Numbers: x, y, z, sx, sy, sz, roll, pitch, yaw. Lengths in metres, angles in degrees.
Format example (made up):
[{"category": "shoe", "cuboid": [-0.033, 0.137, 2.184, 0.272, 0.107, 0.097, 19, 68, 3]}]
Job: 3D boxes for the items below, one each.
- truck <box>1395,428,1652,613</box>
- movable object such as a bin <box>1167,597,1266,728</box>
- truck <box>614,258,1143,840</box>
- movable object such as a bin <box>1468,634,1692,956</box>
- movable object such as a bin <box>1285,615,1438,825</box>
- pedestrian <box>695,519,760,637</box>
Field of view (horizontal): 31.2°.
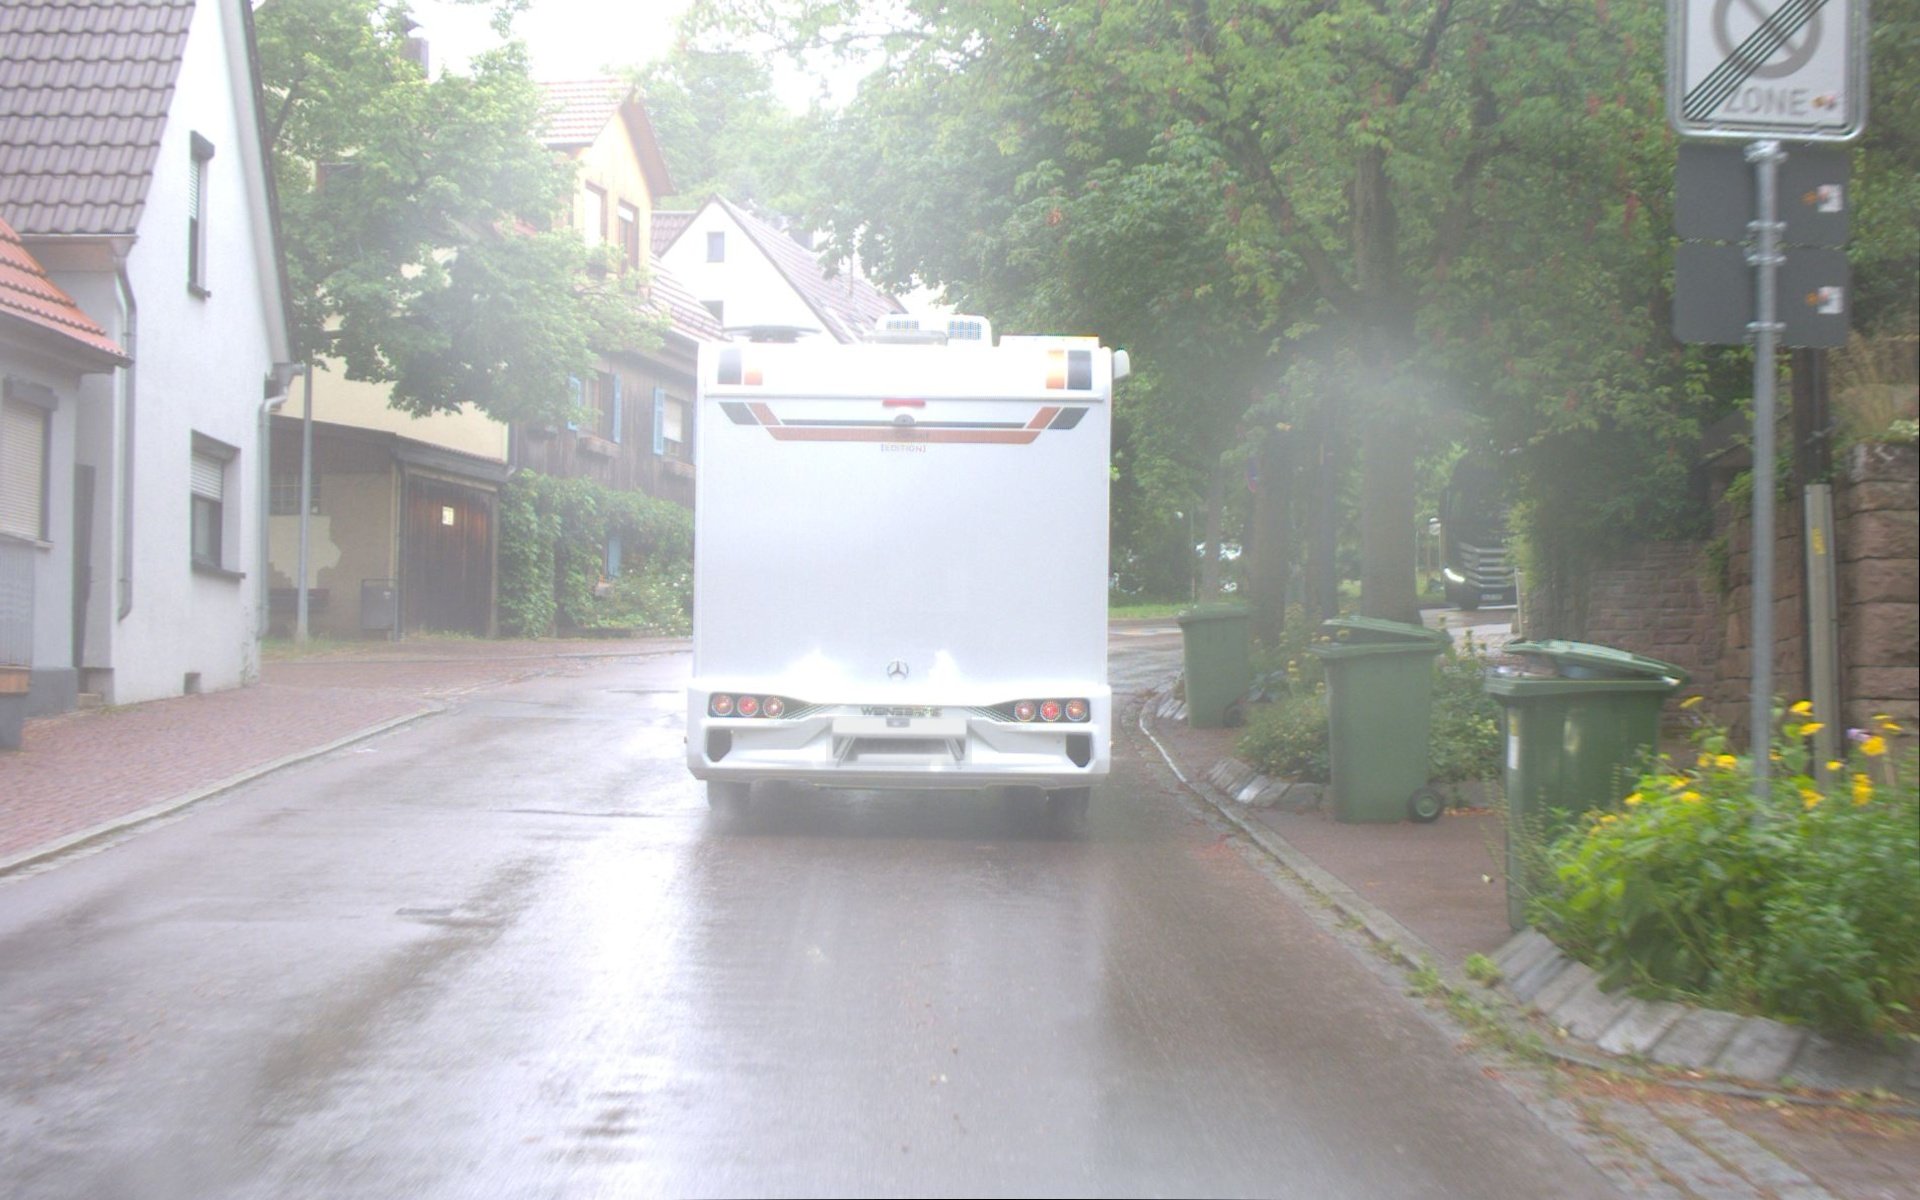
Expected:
[{"category": "truck", "cuboid": [13.663, -1.840, 82.512, 2.842, 4.152, 9.960, 2, 1, 29]}, {"category": "movable object such as a bin", "cuboid": [2.228, 0.535, 29.943, 0.769, 1.103, 0.884, -1, 0, 0]}, {"category": "truck", "cuboid": [-0.482, -0.325, 21.000, 2.694, 2.975, 6.237, 1, 1, -1]}, {"category": "movable object such as a bin", "cuboid": [2.432, 0.750, 13.545, 0.721, 1.208, 0.727, 1, 0, 0]}, {"category": "movable object such as a bin", "cuboid": [2.258, 0.665, 19.388, 0.723, 1.139, 0.703, 1, 0, -3]}, {"category": "pedestrian", "cuboid": [-3.728, -0.357, 55.165, 0.794, 1.861, 0.915, 1, 0, 12]}]
